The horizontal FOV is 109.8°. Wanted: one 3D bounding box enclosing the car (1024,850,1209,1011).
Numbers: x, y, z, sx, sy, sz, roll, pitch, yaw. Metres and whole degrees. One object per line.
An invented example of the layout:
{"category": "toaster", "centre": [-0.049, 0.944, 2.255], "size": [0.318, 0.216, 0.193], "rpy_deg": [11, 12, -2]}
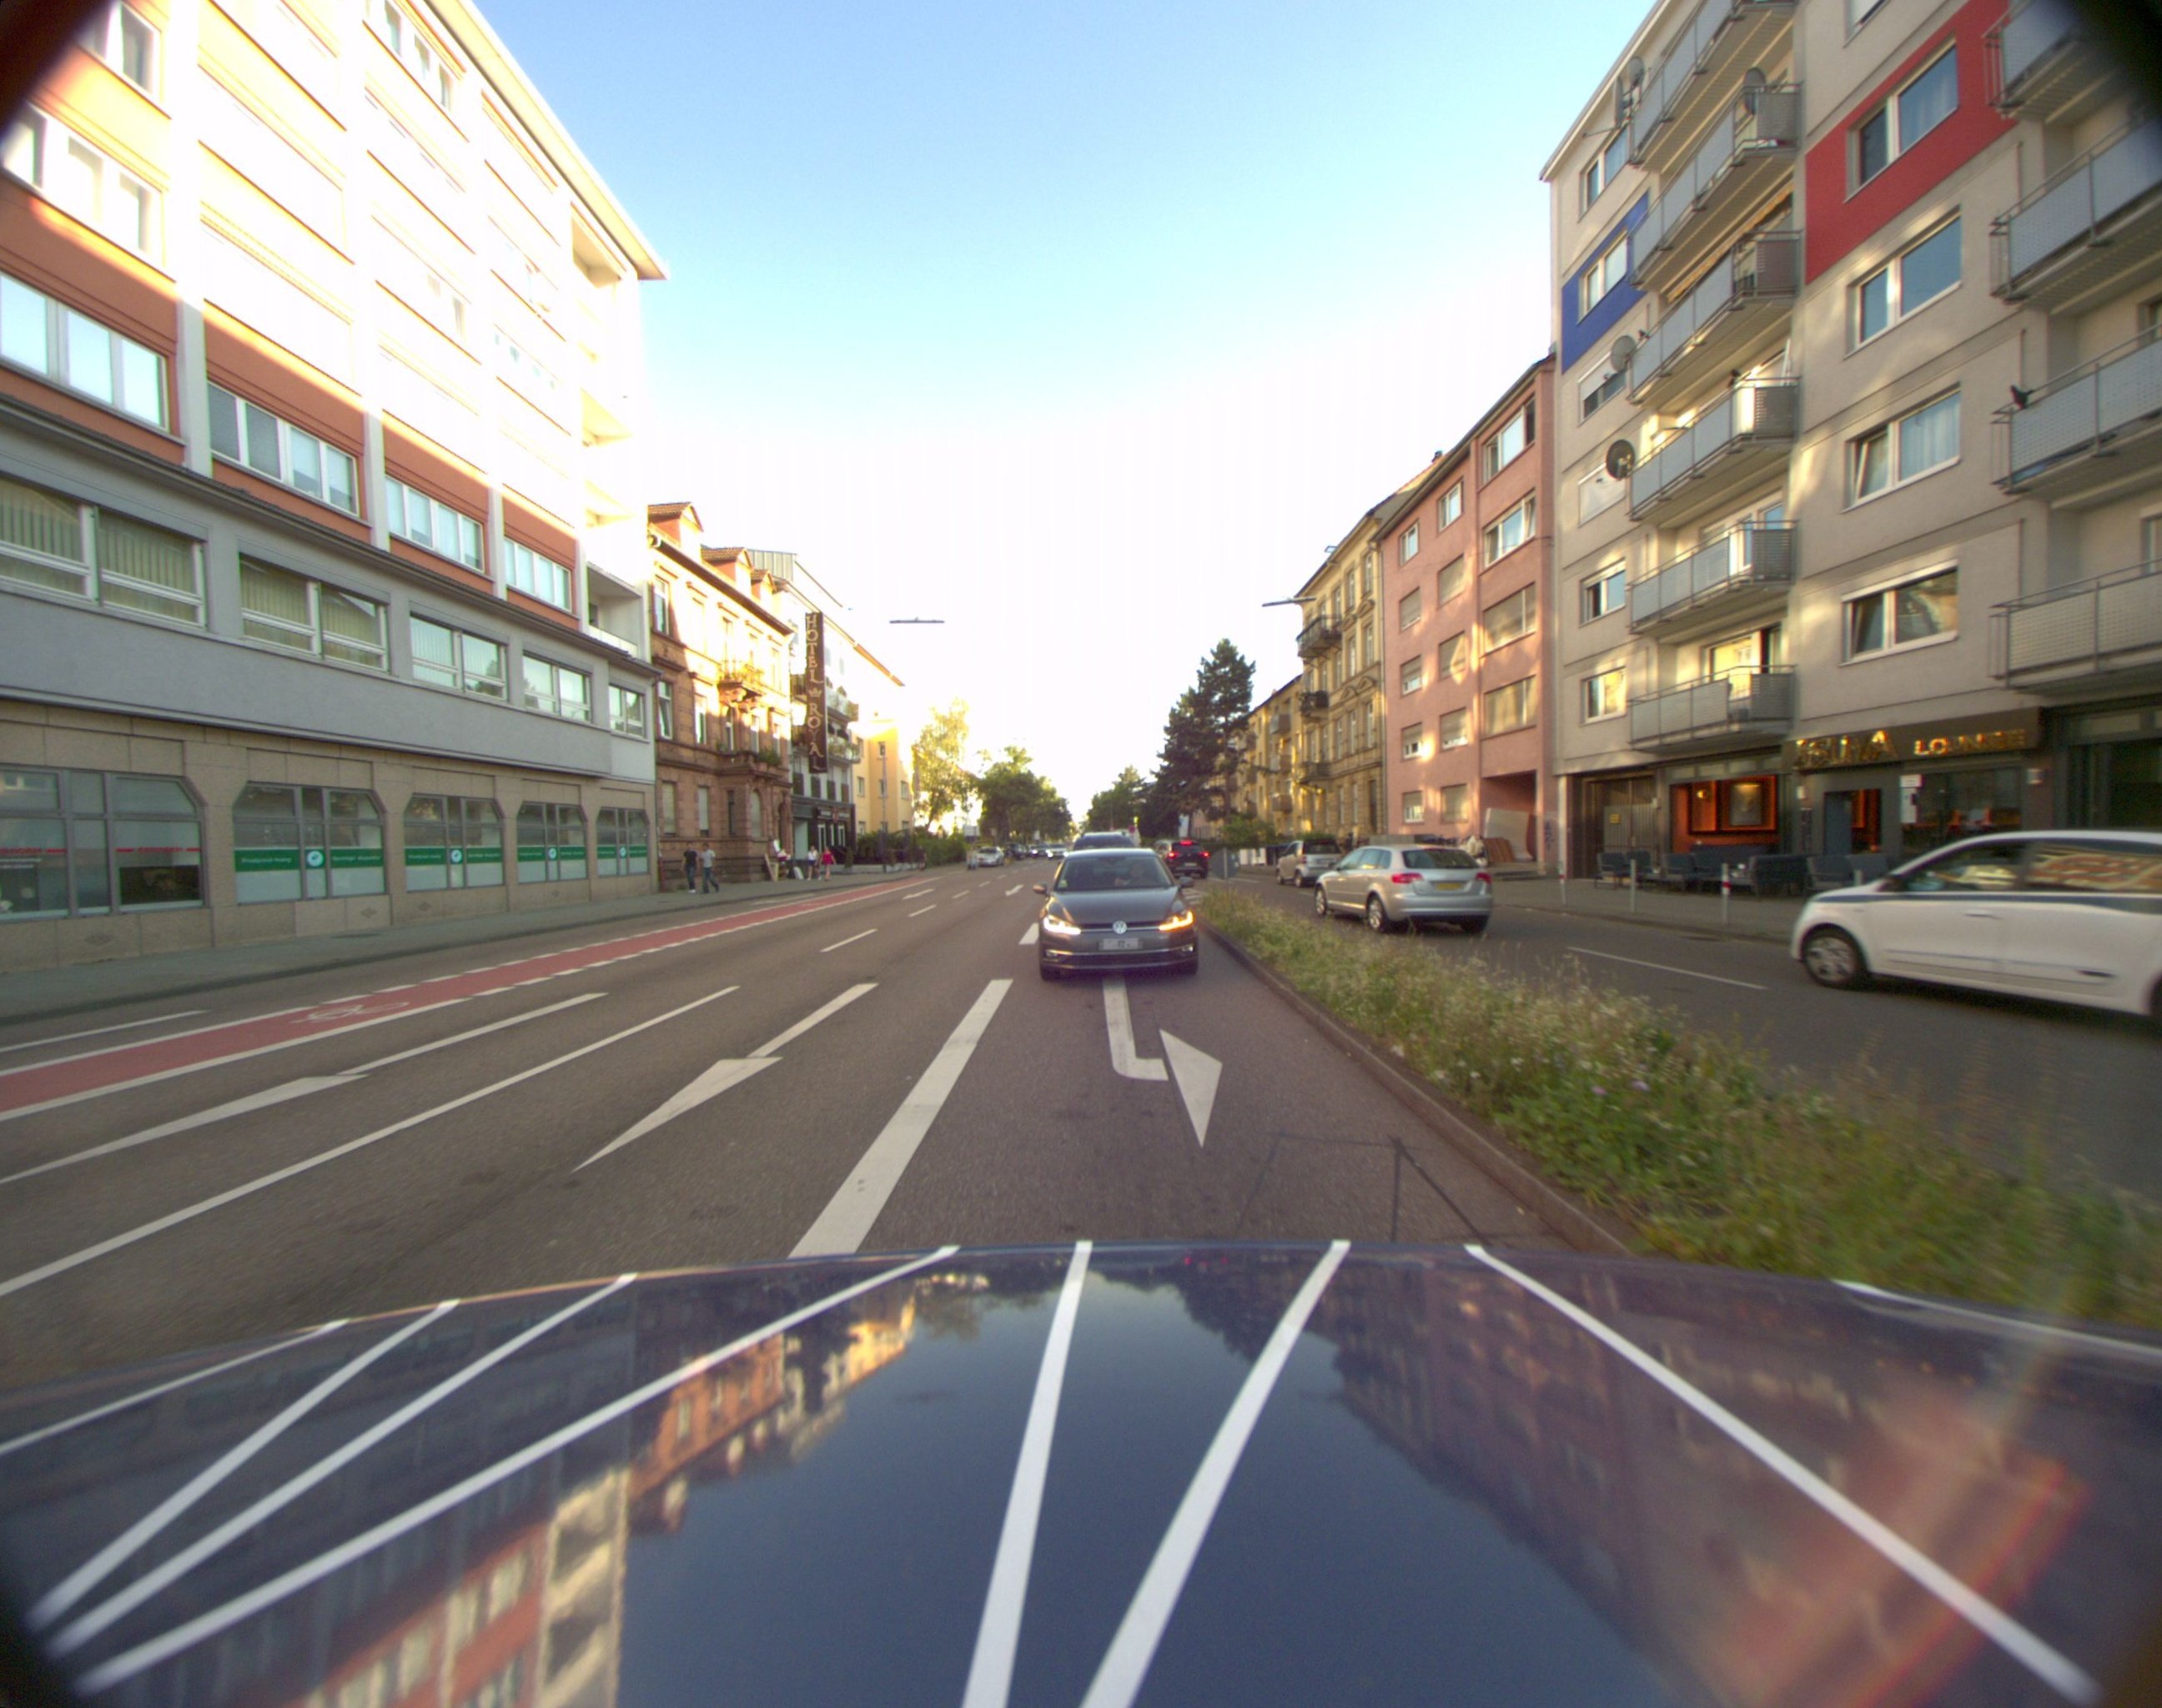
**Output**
{"category": "car", "centre": [0.405, 0.758, 9.704], "size": [1.770, 1.451, 4.268], "rpy_deg": [-3, 1, 1]}

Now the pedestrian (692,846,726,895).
{"category": "pedestrian", "centre": [-13.548, 0.585, 27.706], "size": [0.668, 1.716, 1.011], "rpy_deg": [-1, 2, 2]}

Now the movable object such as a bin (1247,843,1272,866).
{"category": "movable object such as a bin", "centre": [9.907, -0.001, 42.146], "size": [0.847, 1.226, 1.196], "rpy_deg": [0, 2, 43]}

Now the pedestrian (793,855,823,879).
{"category": "pedestrian", "centre": [-13.326, 0.619, 37.132], "size": [1.100, 1.129, 0.924], "rpy_deg": [-2, 1, -1]}

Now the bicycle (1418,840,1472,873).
{"category": "bicycle", "centre": [13.444, 0.085, 28.082], "size": [1.780, 1.184, 0.473], "rpy_deg": [-2, 2, -2]}

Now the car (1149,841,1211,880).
{"category": "car", "centre": [4.089, 0.219, 32.084], "size": [1.680, 1.536, 4.099], "rpy_deg": [0, 1, -6]}

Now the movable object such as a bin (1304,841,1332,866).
{"category": "movable object such as a bin", "centre": [12.234, -0.044, 39.281], "size": [1.195, 1.226, 0.847], "rpy_deg": [-3, 2, -39]}

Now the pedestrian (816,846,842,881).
{"category": "pedestrian", "centre": [-11.842, 0.427, 35.710], "size": [0.738, 1.579, 1.011], "rpy_deg": [3, 2, 5]}

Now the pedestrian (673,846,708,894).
{"category": "pedestrian", "centre": [-14.265, 0.574, 27.762], "size": [0.668, 1.716, 1.011], "rpy_deg": [-1, 1, 1]}

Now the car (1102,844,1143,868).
{"category": "car", "centre": [2.595, 0.092, 48.268], "size": [1.598, 1.463, 3.980], "rpy_deg": [-1, 1, -12]}

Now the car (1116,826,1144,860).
{"category": "car", "centre": [4.165, -0.955, 65.262], "size": [2.136, 2.741, 4.465], "rpy_deg": [0, 1, 0]}

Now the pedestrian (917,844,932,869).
{"category": "pedestrian", "centre": [-9.850, 0.147, 47.872], "size": [0.739, 1.593, 1.010], "rpy_deg": [1, 2, -4]}

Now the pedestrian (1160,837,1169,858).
{"category": "pedestrian", "centre": [6.395, -0.471, 58.247], "size": [0.577, 1.591, 0.481], "rpy_deg": [-2, 2, 1]}

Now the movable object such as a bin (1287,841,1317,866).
{"category": "movable object such as a bin", "centre": [11.668, -0.036, 40.032], "size": [1.295, 1.226, 0.926], "rpy_deg": [-3, 2, -39]}

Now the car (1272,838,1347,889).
{"category": "car", "centre": [7.502, 0.288, 25.195], "size": [1.539, 1.584, 2.807], "rpy_deg": [0, 1, -2]}

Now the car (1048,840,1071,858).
{"category": "car", "centre": [-1.955, -0.467, 70.529], "size": [1.907, 1.532, 3.999], "rpy_deg": [-2, 2, 0]}

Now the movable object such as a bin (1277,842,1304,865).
{"category": "movable object such as a bin", "centre": [11.286, -0.038, 40.931], "size": [1.195, 1.226, 0.847], "rpy_deg": [-3, 2, -39]}

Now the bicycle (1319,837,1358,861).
{"category": "bicycle", "centre": [13.144, -0.253, 38.783], "size": [1.780, 1.184, 0.473], "rpy_deg": [-2, 2, -2]}

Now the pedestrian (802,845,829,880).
{"category": "pedestrian", "centre": [-12.534, 0.378, 35.864], "size": [0.786, 1.579, 1.011], "rpy_deg": [3, 2, 5]}

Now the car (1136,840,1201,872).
{"category": "car", "centre": [4.561, 0.074, 40.244], "size": [1.727, 1.619, 4.094], "rpy_deg": [-1, 1, -21]}

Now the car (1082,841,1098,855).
{"category": "car", "centre": [0.957, -0.654, 82.289], "size": [1.596, 1.533, 3.403], "rpy_deg": [0, 1, -1]}

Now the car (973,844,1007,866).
{"category": "car", "centre": [-6.800, 0.032, 57.251], "size": [1.905, 1.509, 4.074], "rpy_deg": [-1, 1, 1]}

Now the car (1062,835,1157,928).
{"category": "car", "centre": [0.593, 0.502, 17.389], "size": [1.895, 1.843, 4.465], "rpy_deg": [0, 1, 0]}

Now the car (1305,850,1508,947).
{"category": "car", "centre": [5.427, 0.647, 13.312], "size": [1.713, 1.417, 4.101], "rpy_deg": [0, 1, -1]}

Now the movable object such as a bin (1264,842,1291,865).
{"category": "movable object such as a bin", "centre": [10.765, -0.030, 41.641], "size": [1.195, 1.226, 0.847], "rpy_deg": [-3, 2, -39]}

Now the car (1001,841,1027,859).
{"category": "car", "centre": [-6.405, -0.421, 73.036], "size": [1.947, 1.616, 4.193], "rpy_deg": [-1, 1, 1]}

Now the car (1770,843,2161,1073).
{"category": "car", "centre": [8.061, 0.682, 6.128], "size": [1.679, 1.536, 3.637], "rpy_deg": [0, 1, 0]}

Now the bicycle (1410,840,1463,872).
{"category": "bicycle", "centre": [13.474, 0.073, 28.815], "size": [1.780, 1.184, 0.473], "rpy_deg": [-2, 2, -2]}
